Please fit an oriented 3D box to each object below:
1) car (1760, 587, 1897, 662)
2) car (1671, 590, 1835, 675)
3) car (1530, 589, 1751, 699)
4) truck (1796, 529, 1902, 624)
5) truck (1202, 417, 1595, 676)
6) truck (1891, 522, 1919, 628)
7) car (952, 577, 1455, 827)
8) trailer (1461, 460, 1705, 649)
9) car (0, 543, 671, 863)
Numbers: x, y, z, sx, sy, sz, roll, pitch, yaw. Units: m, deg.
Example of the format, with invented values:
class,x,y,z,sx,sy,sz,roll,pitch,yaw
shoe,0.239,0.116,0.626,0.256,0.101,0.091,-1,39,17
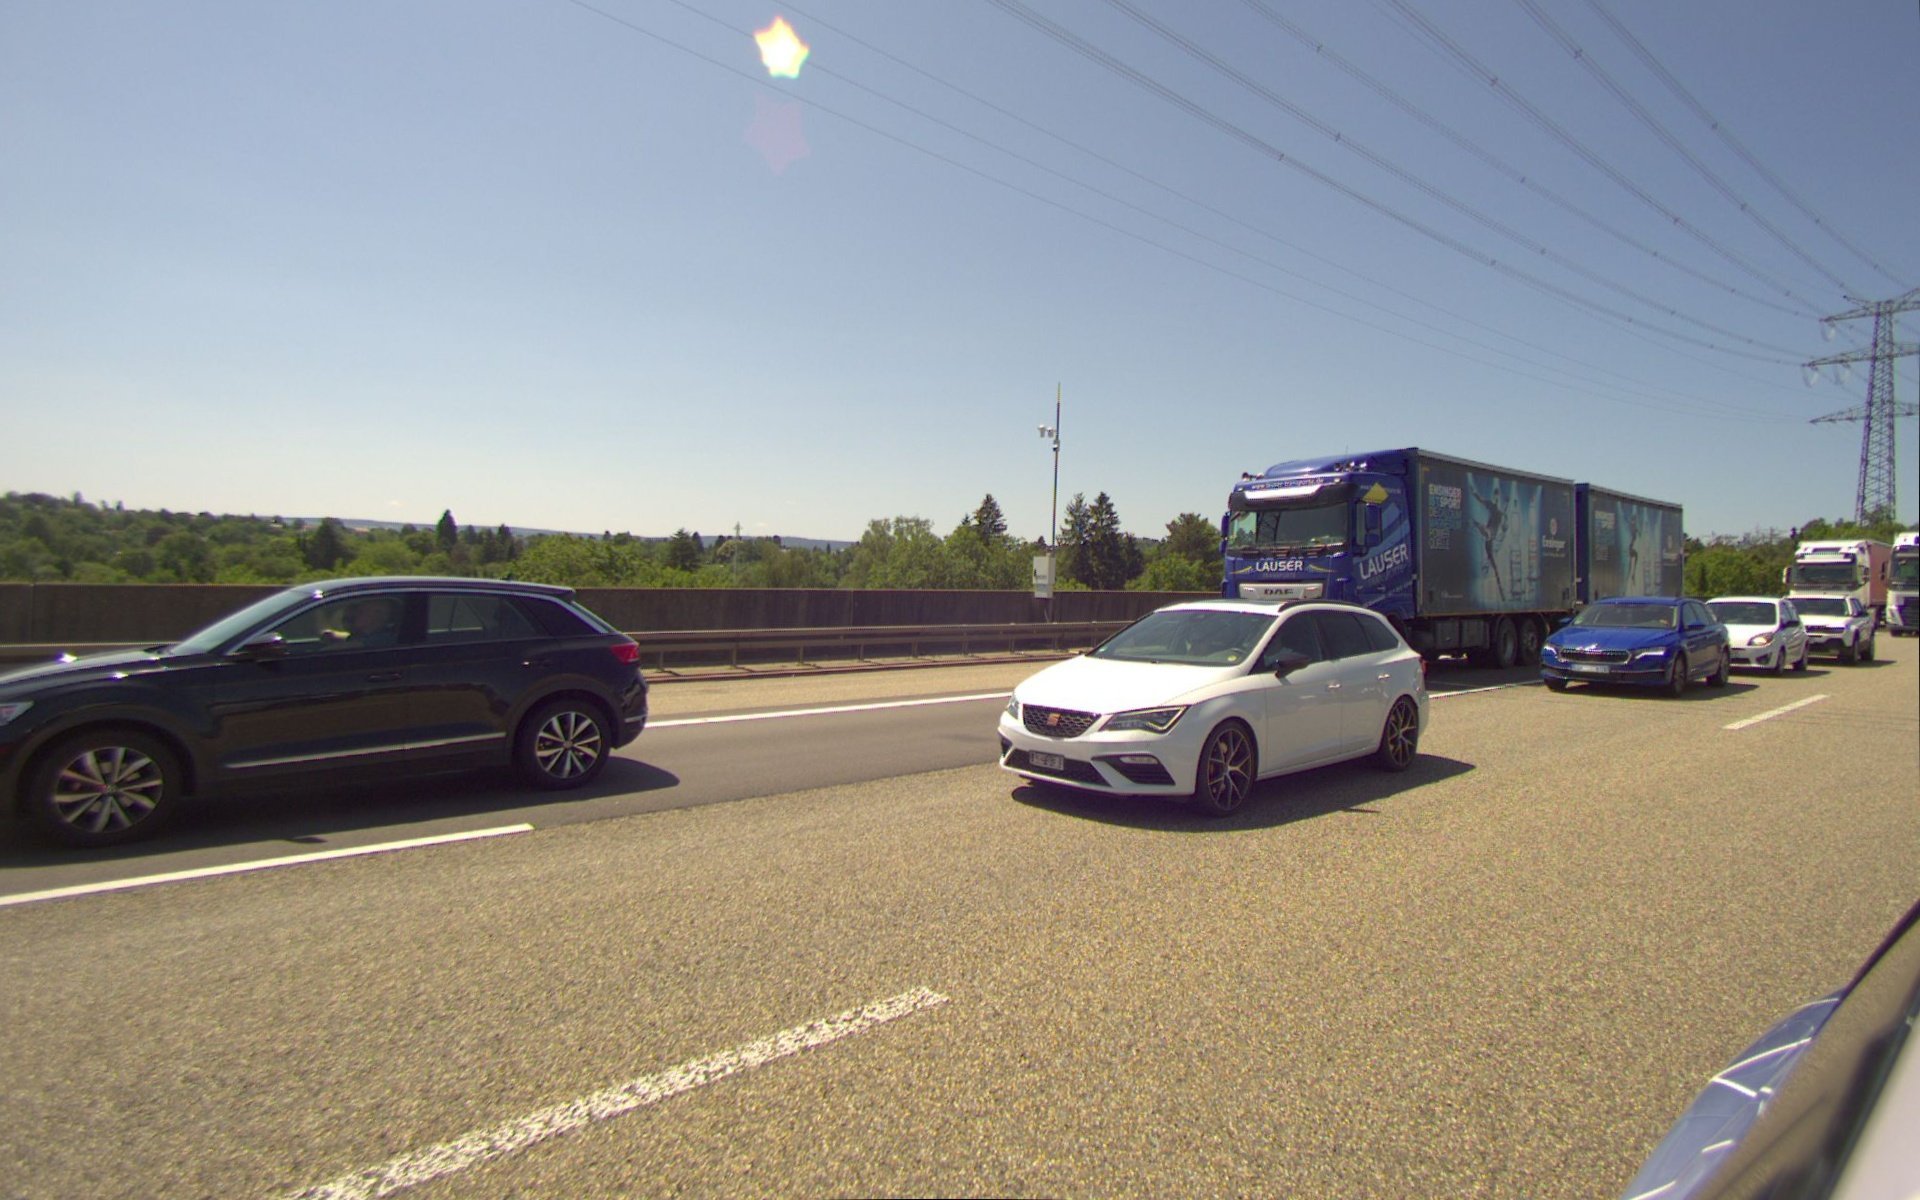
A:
class,x,y,z,sx,sy,sz,roll,pitch,yaw
car,19.681,0.494,22.890,4.071,1.529,1.712,-1,0,-40
car,15.499,0.550,19.714,4.071,1.470,1.712,-1,0,-40
car,10.770,0.579,15.899,4.482,1.470,1.712,-1,0,-40
truck,41.061,-1.048,46.655,8.121,4.038,2.606,-1,0,-41
truck,9.067,-0.890,19.962,10.210,3.999,2.857,-1,0,-40
truck,38.720,-0.970,39.356,8.121,3.874,2.847,-1,0,-41
car,2.129,0.603,8.048,4.352,1.470,1.711,0,0,-41
trailer,16.198,-1.054,25.982,8.485,4.141,2.833,-1,0,-40
car,-4.303,0.518,7.096,4.046,1.675,1.711,-1,0,-41
